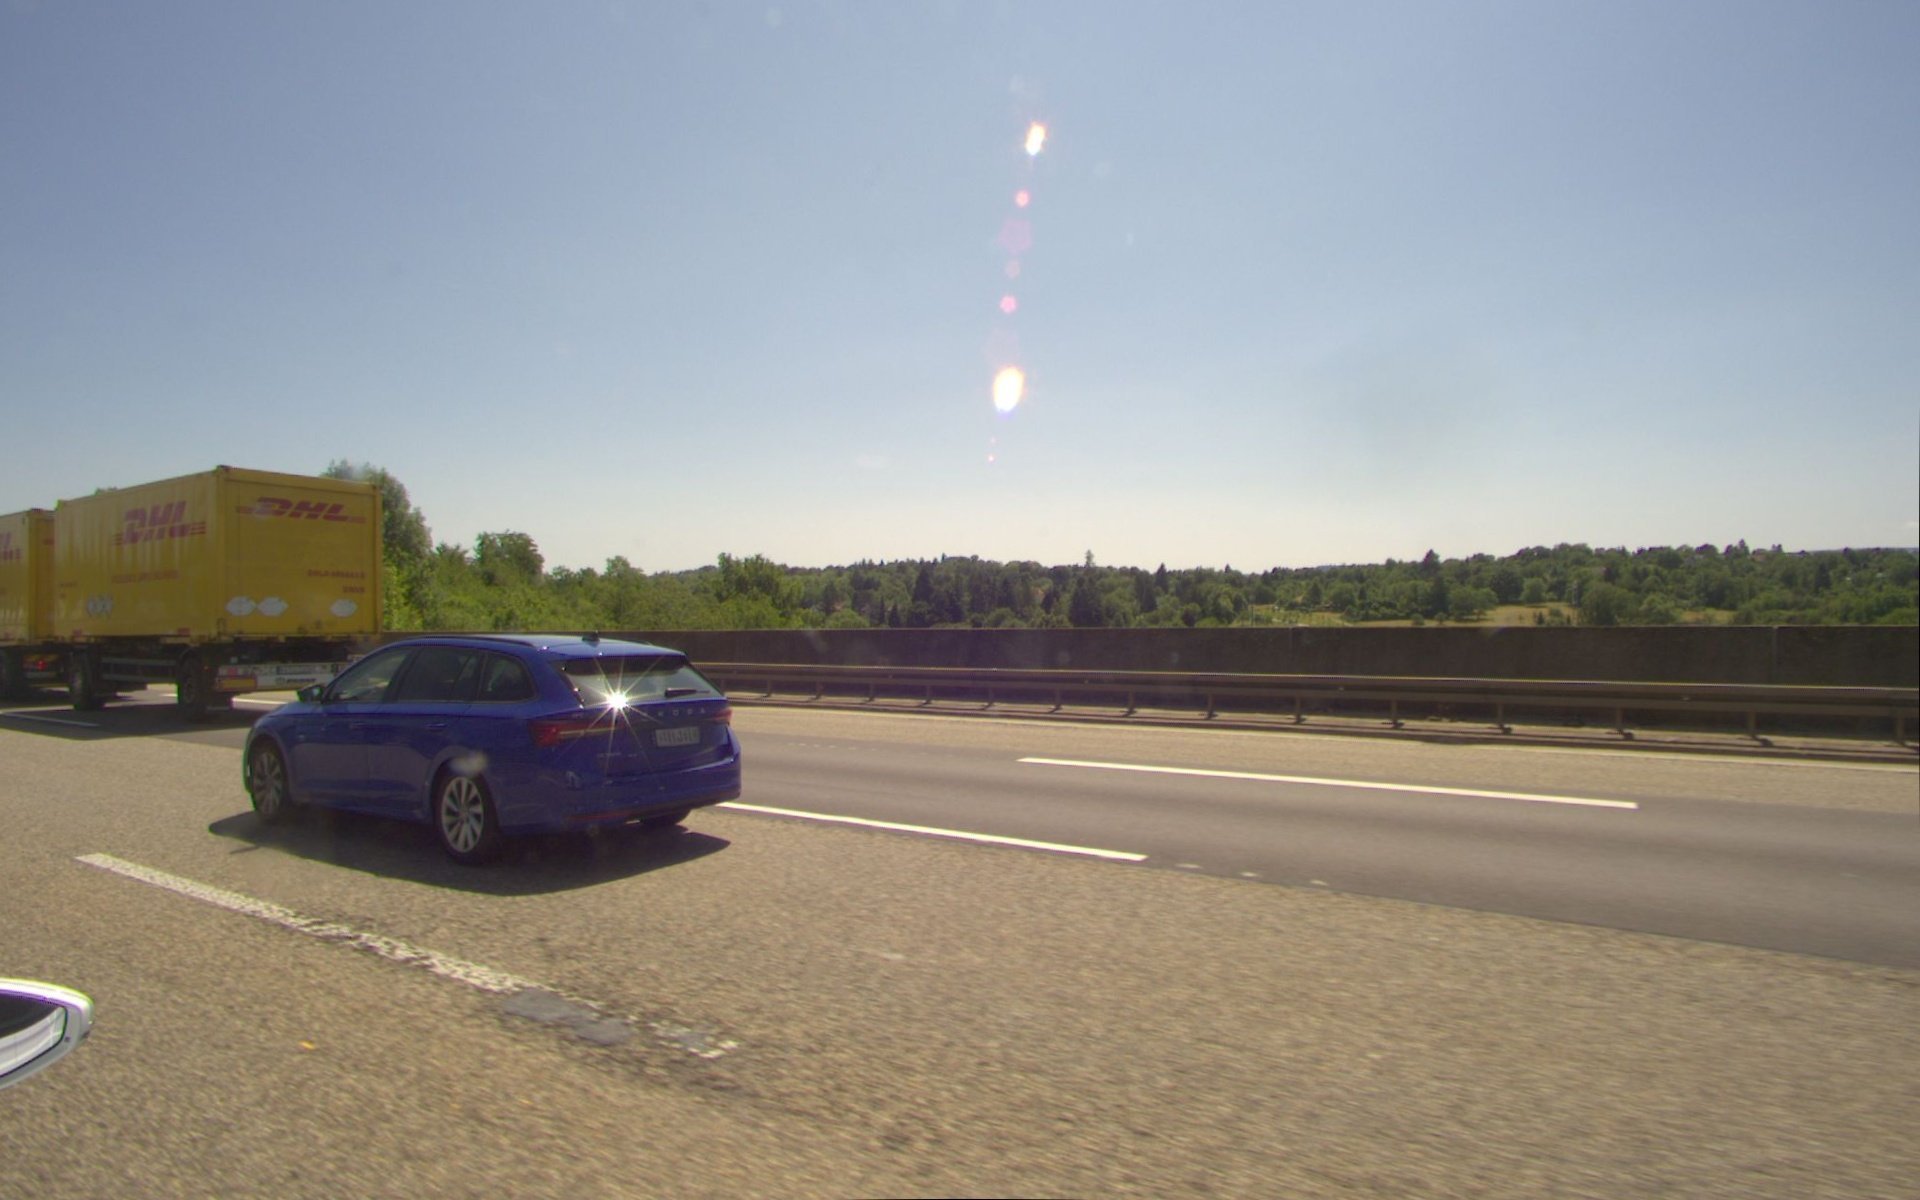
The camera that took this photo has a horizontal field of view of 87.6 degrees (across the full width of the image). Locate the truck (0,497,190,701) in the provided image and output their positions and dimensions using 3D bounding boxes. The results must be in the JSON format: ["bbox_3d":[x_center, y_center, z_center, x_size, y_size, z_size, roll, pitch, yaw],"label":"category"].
[{"bbox_3d":[-22.390,0.125,24.224,9.811,4.161,2.761,-1,-2,32],"label":"truck"}]

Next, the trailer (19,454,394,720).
[{"bbox_3d":[-14.790,-0.068,19.334,9.245,4.170,2.760,-1,-2,33],"label":"trailer"}]

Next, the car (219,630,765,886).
[{"bbox_3d":[-3.686,0.975,7.636,4.365,1.459,1.703,-1,-2,32],"label":"car"}]
